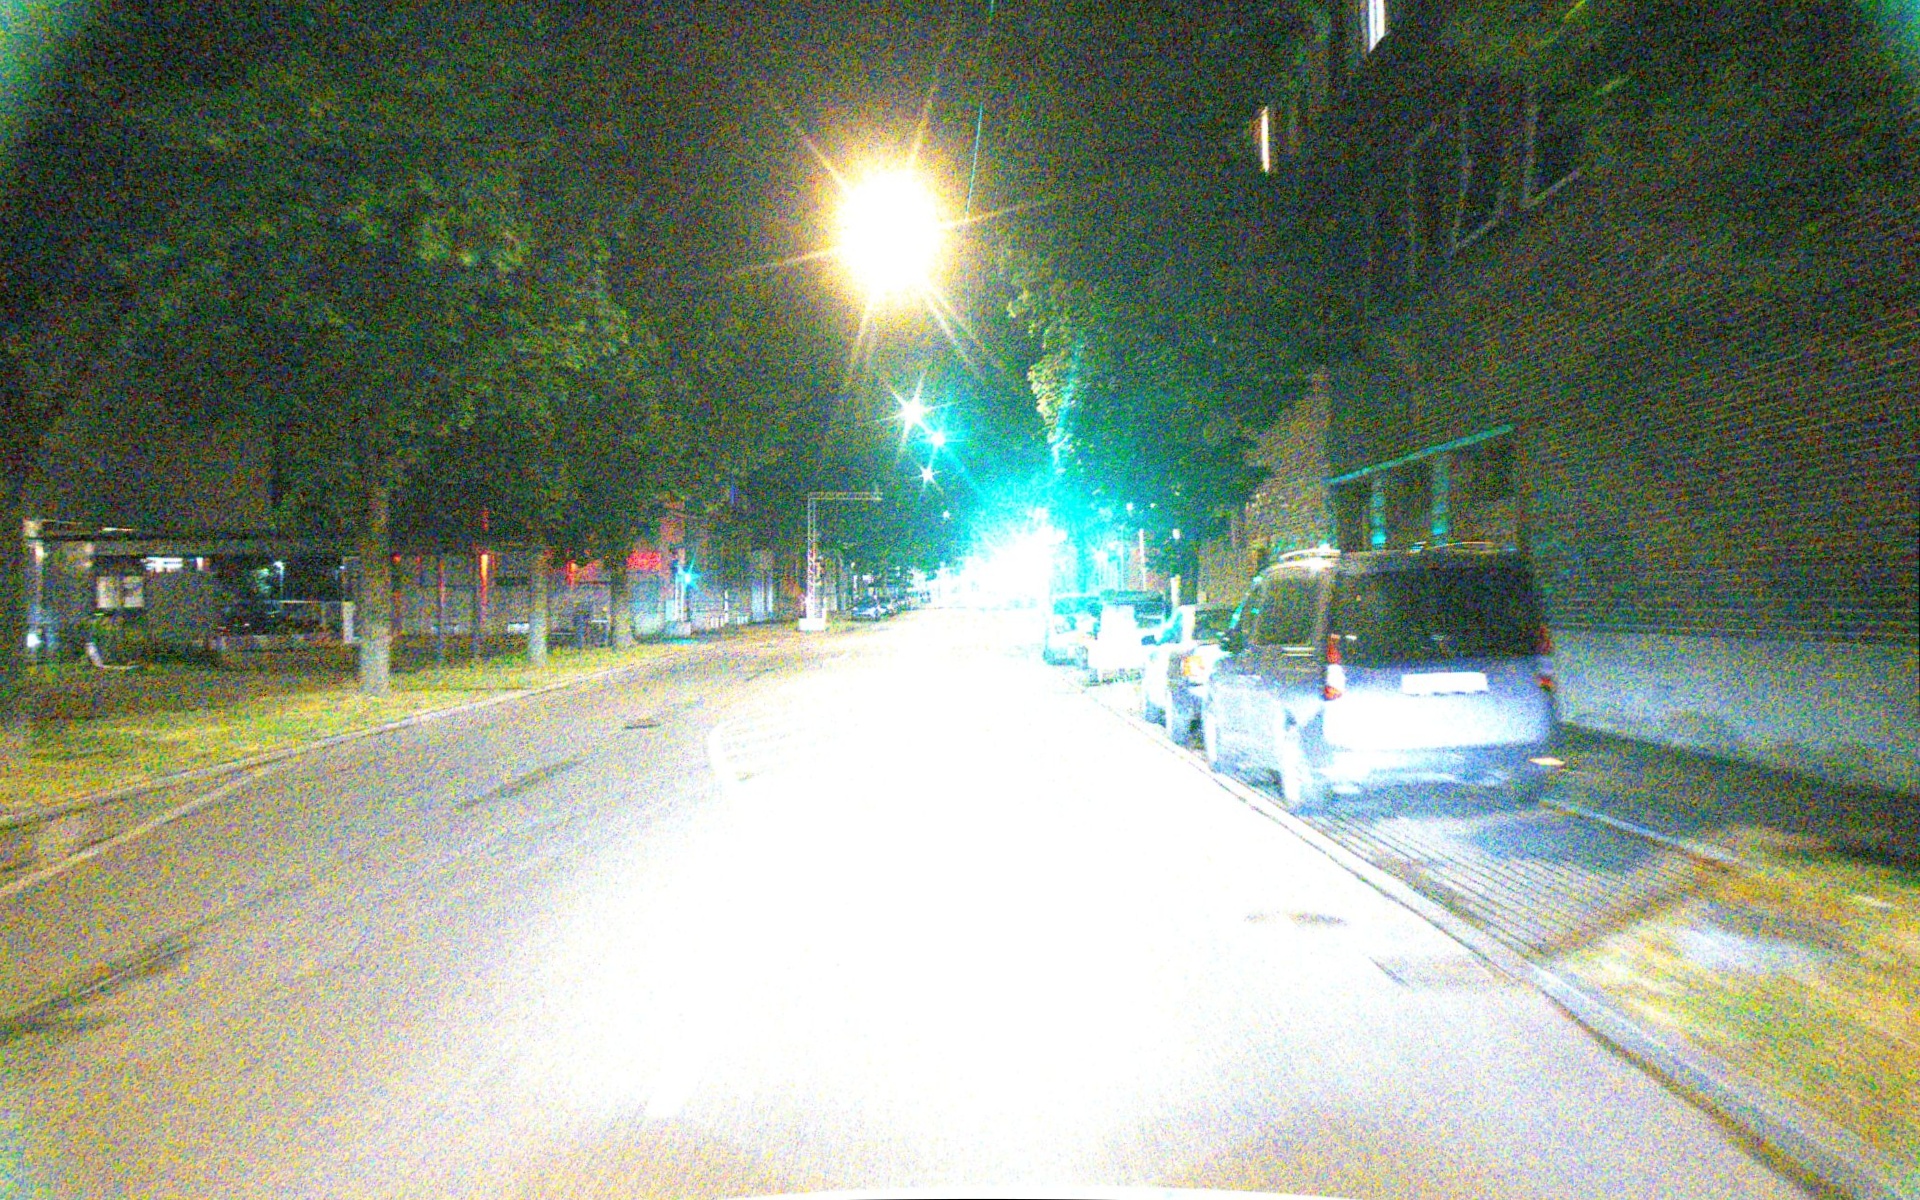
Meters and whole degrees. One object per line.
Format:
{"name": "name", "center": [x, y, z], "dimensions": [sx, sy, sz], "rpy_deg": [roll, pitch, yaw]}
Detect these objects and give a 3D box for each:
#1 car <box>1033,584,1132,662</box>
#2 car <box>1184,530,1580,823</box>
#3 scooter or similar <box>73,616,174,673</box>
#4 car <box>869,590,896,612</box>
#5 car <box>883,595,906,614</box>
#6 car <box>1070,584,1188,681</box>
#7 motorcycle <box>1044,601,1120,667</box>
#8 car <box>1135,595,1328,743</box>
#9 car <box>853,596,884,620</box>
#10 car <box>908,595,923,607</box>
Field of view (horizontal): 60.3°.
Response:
{"name": "car", "center": [2.694, 0.473, 37.278], "dimensions": [1.815, 1.618, 4.299], "rpy_deg": [-1, 0, -1]}
{"name": "car", "center": [3.056, 0.486, 12.956], "dimensions": [1.736, 1.838, 4.275], "rpy_deg": [-2, 0, -3]}
{"name": "scooter or similar", "center": [-16.110, 0.856, 31.865], "dimensions": [1.639, 1.025, 0.544], "rpy_deg": [2, 0, 1]}
{"name": "car", "center": [-5.441, 0.068, 116.294], "dimensions": [1.705, 1.440, 3.752], "rpy_deg": [0, 1, -1]}
{"name": "car", "center": [-5.150, 0.369, 130.082], "dimensions": [1.705, 1.440, 3.751], "rpy_deg": [0, 0, -1]}
{"name": "car", "center": [2.965, 0.529, 29.791], "dimensions": [1.559, 1.561, 4.137], "rpy_deg": [-2, 0, -1]}
{"name": "motorcycle", "center": [2.490, 0.663, 33.552], "dimensions": [0.625, 1.292, 2.058], "rpy_deg": [0, 0, 34]}
{"name": "car", "center": [2.938, 0.686, 18.618], "dimensions": [1.489, 1.420, 3.984], "rpy_deg": [-2, 0, 0]}
{"name": "car", "center": [-5.577, 0.477, 100.737], "dimensions": [1.705, 1.440, 3.751], "rpy_deg": [0, 0, -1]}
{"name": "car", "center": [-5.382, 0.162, 199.817], "dimensions": [1.705, 1.440, 3.751], "rpy_deg": [0, 0, -1]}
